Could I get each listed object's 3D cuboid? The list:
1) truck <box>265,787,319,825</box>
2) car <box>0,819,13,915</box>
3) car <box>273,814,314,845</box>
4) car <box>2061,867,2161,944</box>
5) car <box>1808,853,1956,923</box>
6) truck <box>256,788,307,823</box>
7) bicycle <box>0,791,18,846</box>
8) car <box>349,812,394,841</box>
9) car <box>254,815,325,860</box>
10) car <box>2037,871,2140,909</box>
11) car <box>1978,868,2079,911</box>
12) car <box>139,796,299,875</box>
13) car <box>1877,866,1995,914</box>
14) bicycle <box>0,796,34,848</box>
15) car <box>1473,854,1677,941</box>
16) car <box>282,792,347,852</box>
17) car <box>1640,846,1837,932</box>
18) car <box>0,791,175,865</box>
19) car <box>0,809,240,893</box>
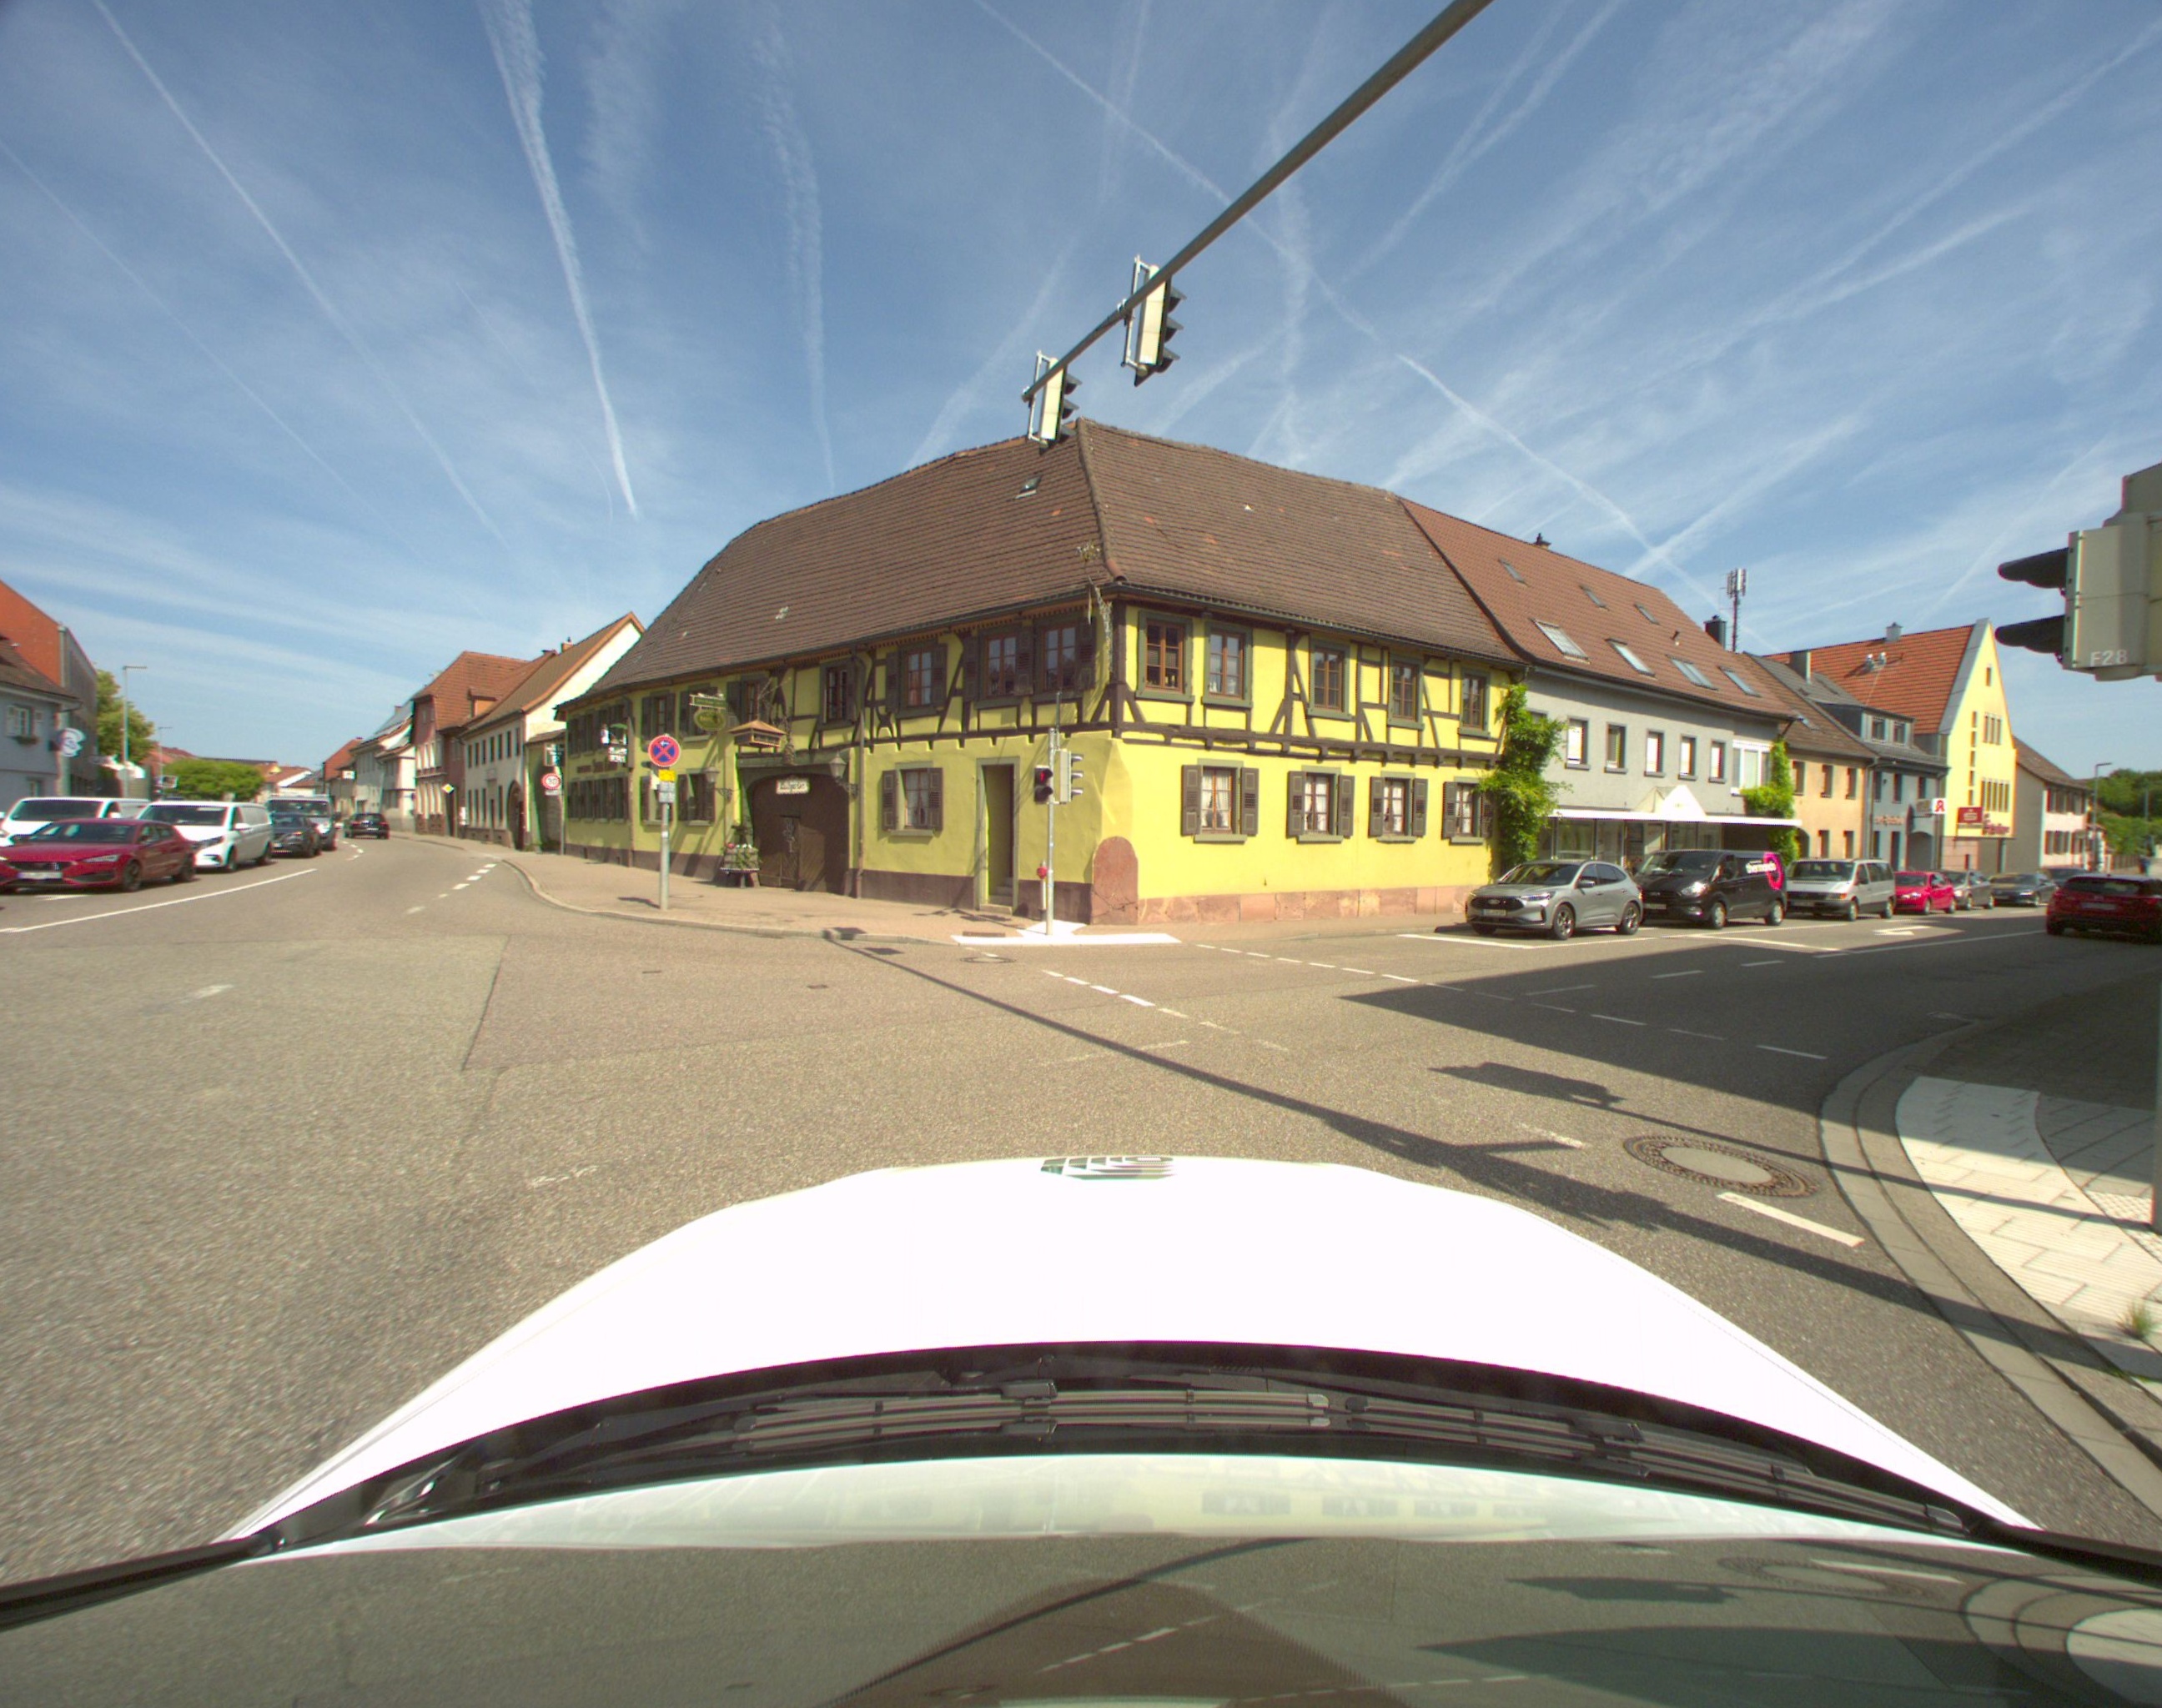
[{"bbox_3d":[-81.694,-4.947,84.248,9.114,3.549,3.253,3,0,42],"label":"truck"},{"bbox_3d":[-15.988,0.239,10.318,1.834,1.434,4.202,1,1,-36],"label":"car"},{"bbox_3d":[-44.692,-1.392,46.256,1.521,1.626,3.378,3,0,-42],"label":"car"},{"bbox_3d":[27.056,1.251,20.661,4.431,1.714,1.849,1,2,-27],"label":"car"},{"bbox_3d":[23.695,0.966,24.069,4.563,1.891,1.872,1,0,-29],"label":"car"},{"bbox_3d":[-89.149,-5.280,90.739,10.577,3.460,3.189,2,-1,41],"label":"truck"},{"bbox_3d":[-35.302,-1.152,25.762,0.643,1.779,2.652,3,0,-20],"label":"bicycle"},{"bbox_3d":[-44.800,-1.754,51.373,3.956,1.738,1.837,2,2,45],"label":"car"},{"bbox_3d":[-27.316,-0.591,28.191,1.588,1.384,3.517,3,0,-42],"label":"car"},{"bbox_3d":[41.369,1.451,33.429,4.433,1.450,1.779,1,0,-27],"label":"car"},{"bbox_3d":[36.108,1.336,31.035,4.028,1.520,1.620,1,0,-27],"label":"car"},{"bbox_3d":[-23.297,-0.531,22.243,1.833,1.906,4.914,1,2,-32],"label":"car"},{"bbox_3d":[29.136,1.192,27.743,4.086,1.492,1.748,1,0,-28],"label":"car"},{"bbox_3d":[-34.585,-1.014,25.719,0.559,1.607,2.546,3,1,-20],"label":"bicycle"},{"bbox_3d":[10.349,0.842,16.987,4.442,1.610,1.744,1,-1,-31],"label":"car"},{"bbox_3d":[-31.606,-1.300,33.660,1.773,2.246,4.498,3,0,-42],"label":"car"},{"bbox_3d":[16.569,0.837,20.469,5.181,1.923,2.145,1,-2,-31],"label":"car"},{"bbox_3d":[-29.457,-0.756,24.247,2.153,1.966,5.221,0,2,-35],"label":"car"},{"bbox_3d":[-20.150,-0.123,17.053,2.172,1.515,4.902,1,1,-29],"label":"car"}]
